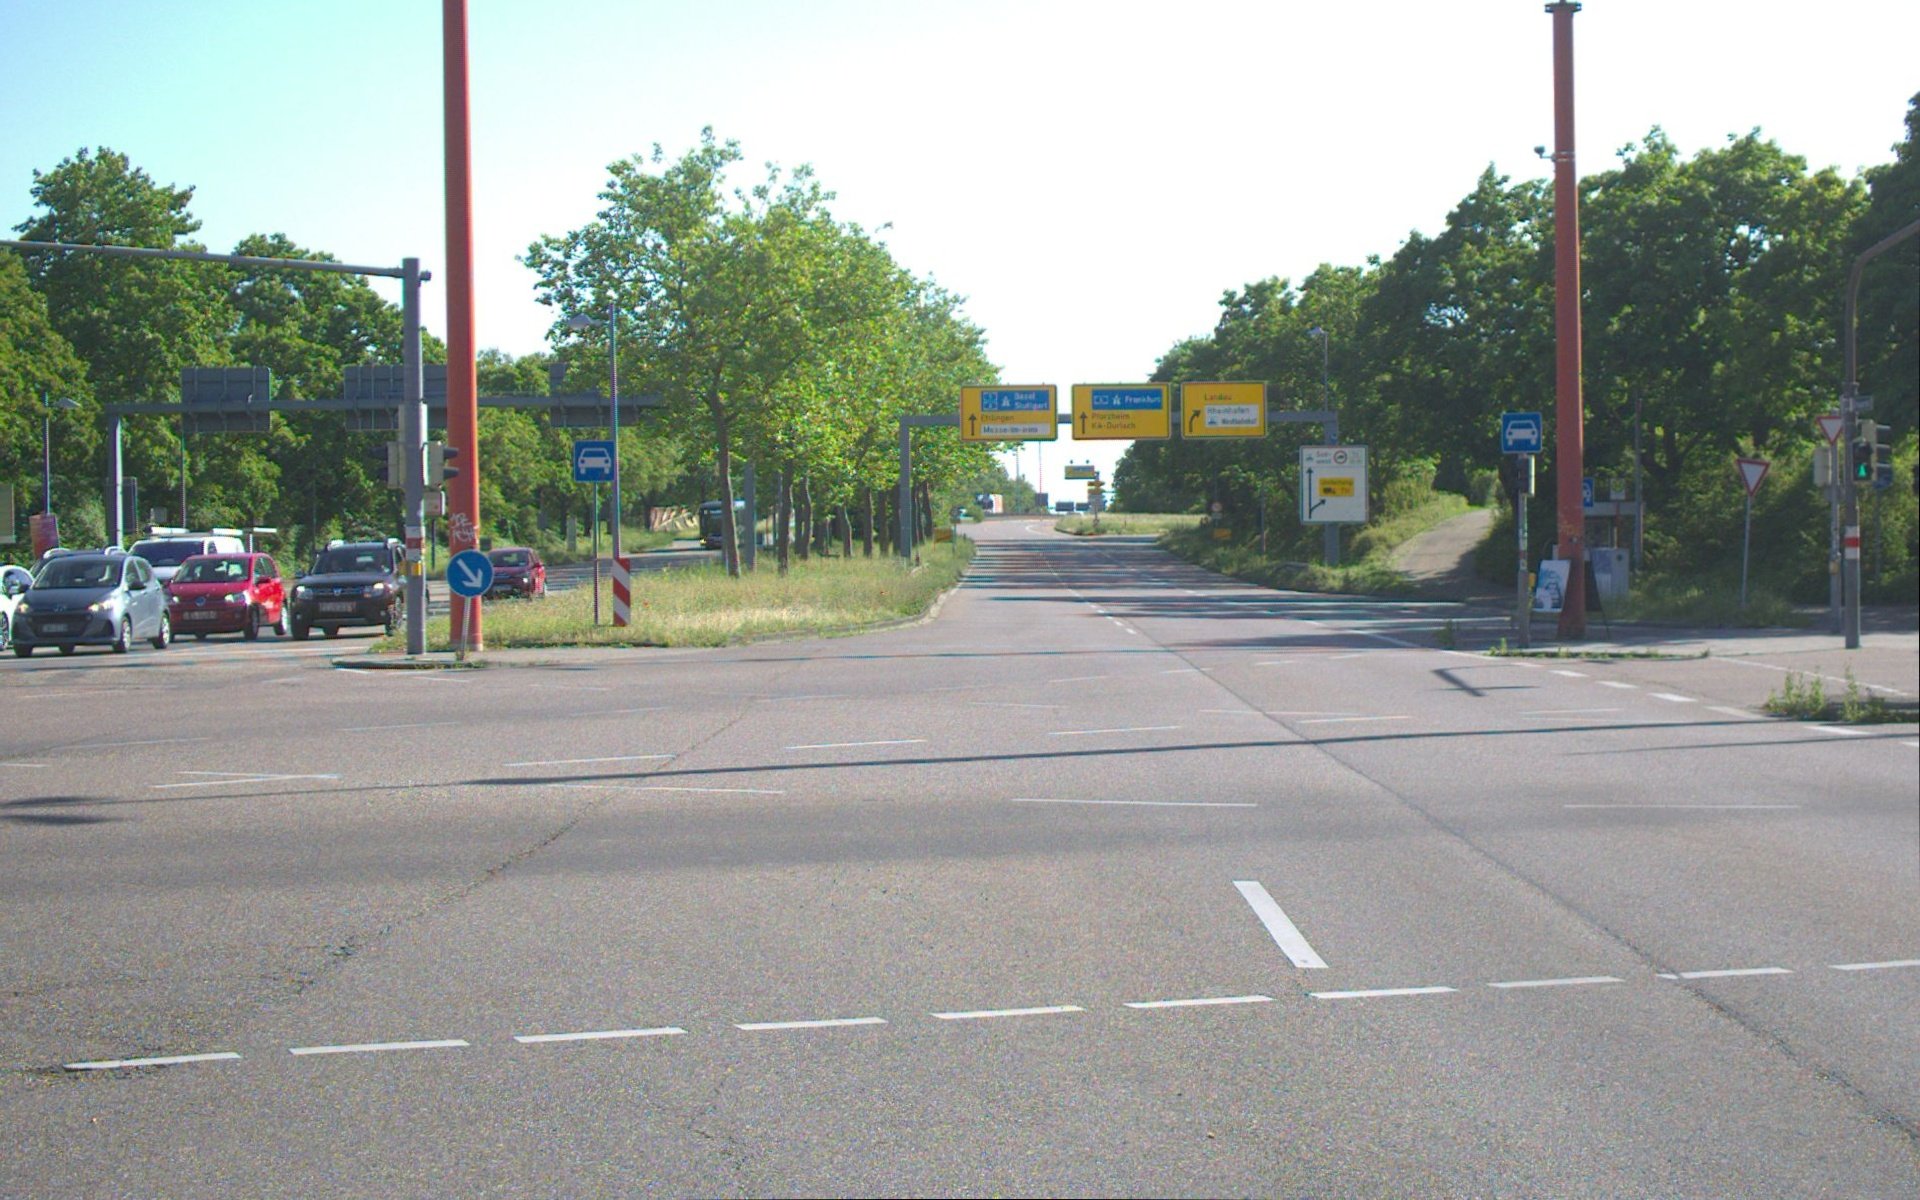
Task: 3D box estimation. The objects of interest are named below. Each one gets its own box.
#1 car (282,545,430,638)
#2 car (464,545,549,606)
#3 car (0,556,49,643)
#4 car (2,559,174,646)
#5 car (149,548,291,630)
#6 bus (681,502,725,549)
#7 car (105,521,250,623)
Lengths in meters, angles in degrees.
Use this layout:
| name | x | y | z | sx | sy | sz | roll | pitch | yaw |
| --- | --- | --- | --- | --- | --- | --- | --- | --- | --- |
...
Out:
| name | x | y | z | sx | sy | sz | roll | pitch | yaw |
| --- | --- | --- | --- | --- | --- | --- | --- | --- | --- |
| car | -10.166 | -0.176 | 58.118 | 1.819 | 1.503 | 4.000 | -1 | 1 | -1 |
| car | -12.480 | -0.704 | 94.774 | 1.819 | 1.623 | 4.000 | -1 | 1 | -1 |
| car | -16.429 | -0.019 | 57.045 | 1.739 | 1.406 | 3.613 | -1 | 1 | -1 |
| car | -13.121 | 0.013 | 51.900 | 1.739 | 1.239 | 3.613 | -1 | 1 | -1 |
| car | -12.724 | -0.209 | 59.262 | 1.739 | 1.357 | 3.613 | -1 | 1 | -1 |
| bus | -18.127 | -5.275 | 243.005 | 2.492 | 3.227 | 10.001 | -1 | 1 | -1 |
| car | -16.021 | -0.596 | 70.637 | 1.893 | 2.019 | 5.224 | 0 | 1 | -1 |
